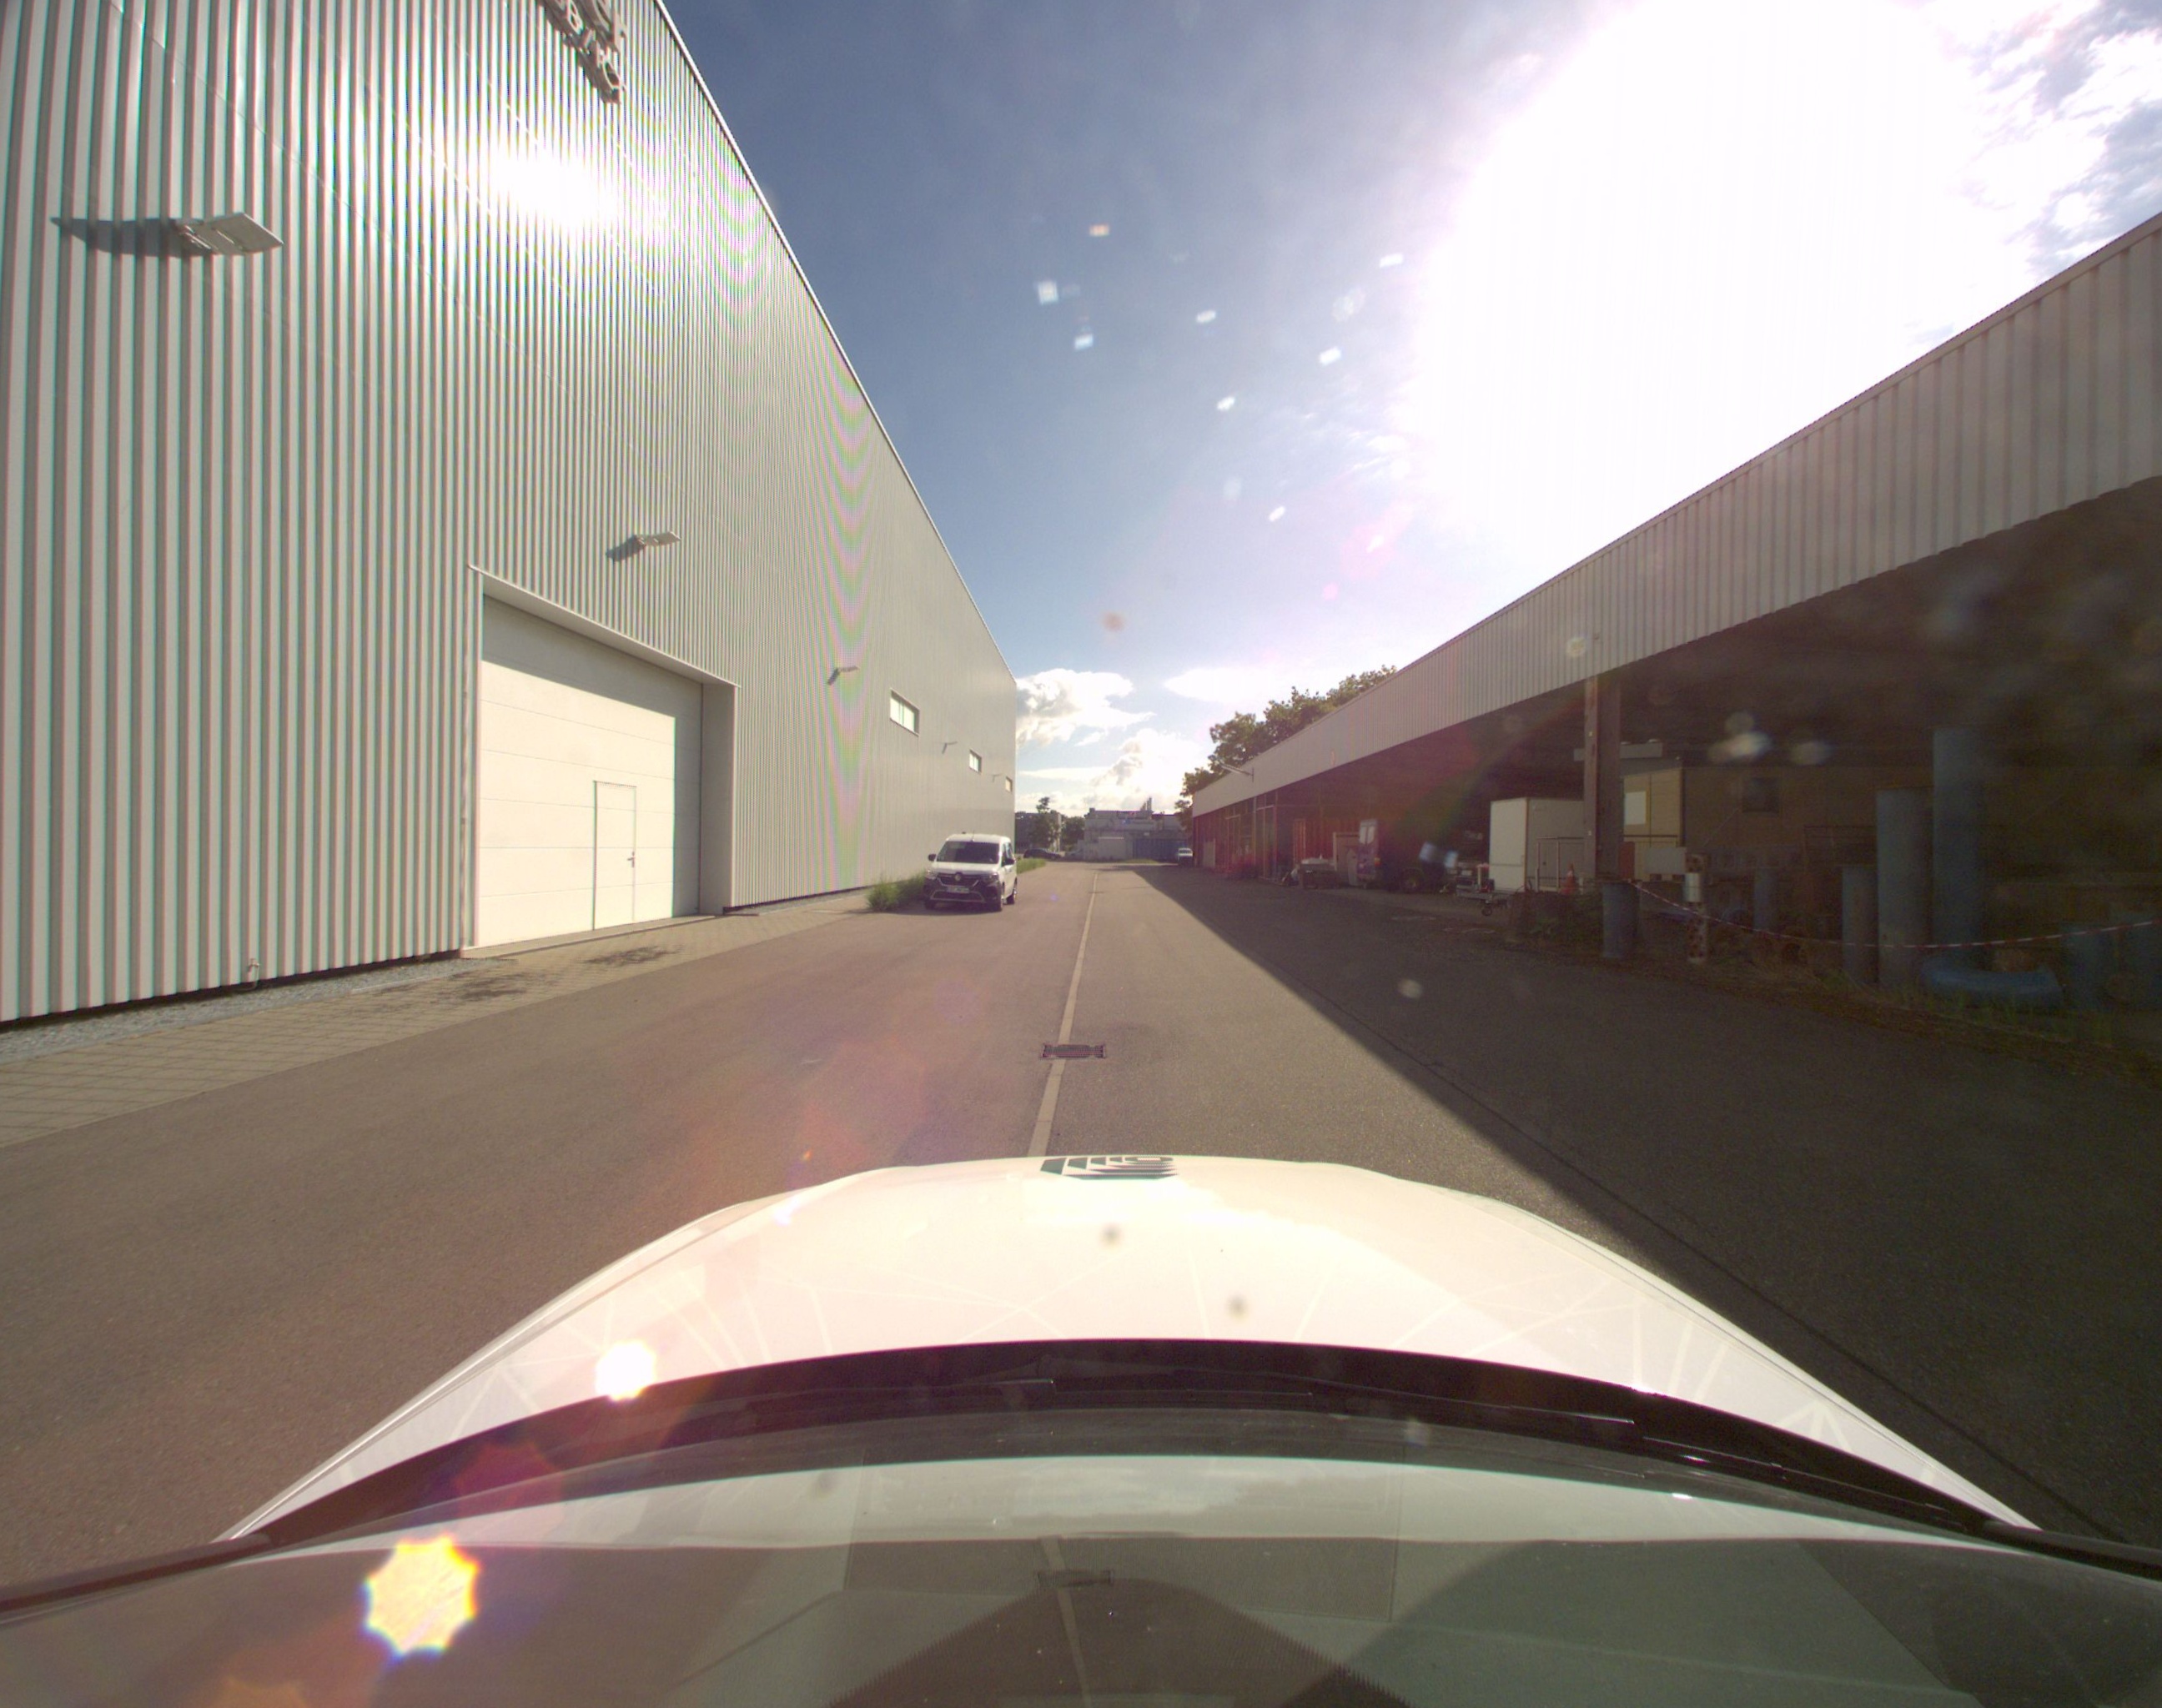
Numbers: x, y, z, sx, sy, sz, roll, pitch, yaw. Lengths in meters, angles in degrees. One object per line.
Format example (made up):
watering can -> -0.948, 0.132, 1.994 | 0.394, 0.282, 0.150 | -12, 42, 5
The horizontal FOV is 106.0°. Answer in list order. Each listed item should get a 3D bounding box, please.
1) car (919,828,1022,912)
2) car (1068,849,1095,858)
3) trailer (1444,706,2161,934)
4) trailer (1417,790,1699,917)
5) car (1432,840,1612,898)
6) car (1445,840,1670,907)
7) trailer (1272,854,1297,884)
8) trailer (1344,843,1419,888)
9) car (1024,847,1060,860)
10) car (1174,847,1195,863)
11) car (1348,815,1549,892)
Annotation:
car -> -2.603, 0.361, 20.334 | 1.777, 1.816, 4.602 | 2, 0, 1
car -> 0.041, -0.058, 130.186 | 4.288, 1.457, 1.824 | -1, 0, 0
trailer -> 12.006, -0.526, 14.031 | 10.230, 3.343, 2.802 | -1, 0, 1
trailer -> 9.514, -0.003, 16.566 | 4.498, 2.342, 2.048 | -1, 0, 2
car -> 11.906, 0.397, 22.175 | 3.953, 1.514, 1.839 | 0, 0, -2
car -> 11.058, 0.430, 19.101 | 4.237, 1.471, 1.869 | 0, 0, -2
trailer -> 7.763, 0.561, 31.115 | 0.550, 1.118, 1.546 | -1, 0, 0
trailer -> 10.260, 0.374, 27.968 | 2.028, 1.466, 1.741 | -1, 0, 5
car -> -4.898, -0.042, 102.351 | 4.432, 1.531, 1.824 | -1, 0, 0
car -> 11.393, 0.111, 89.655 | 1.971, 1.602, 4.381 | -1, 1, 3
car -> 11.309, -0.014, 25.339 | 5.314, 2.281, 2.153 | 0, 0, 0
